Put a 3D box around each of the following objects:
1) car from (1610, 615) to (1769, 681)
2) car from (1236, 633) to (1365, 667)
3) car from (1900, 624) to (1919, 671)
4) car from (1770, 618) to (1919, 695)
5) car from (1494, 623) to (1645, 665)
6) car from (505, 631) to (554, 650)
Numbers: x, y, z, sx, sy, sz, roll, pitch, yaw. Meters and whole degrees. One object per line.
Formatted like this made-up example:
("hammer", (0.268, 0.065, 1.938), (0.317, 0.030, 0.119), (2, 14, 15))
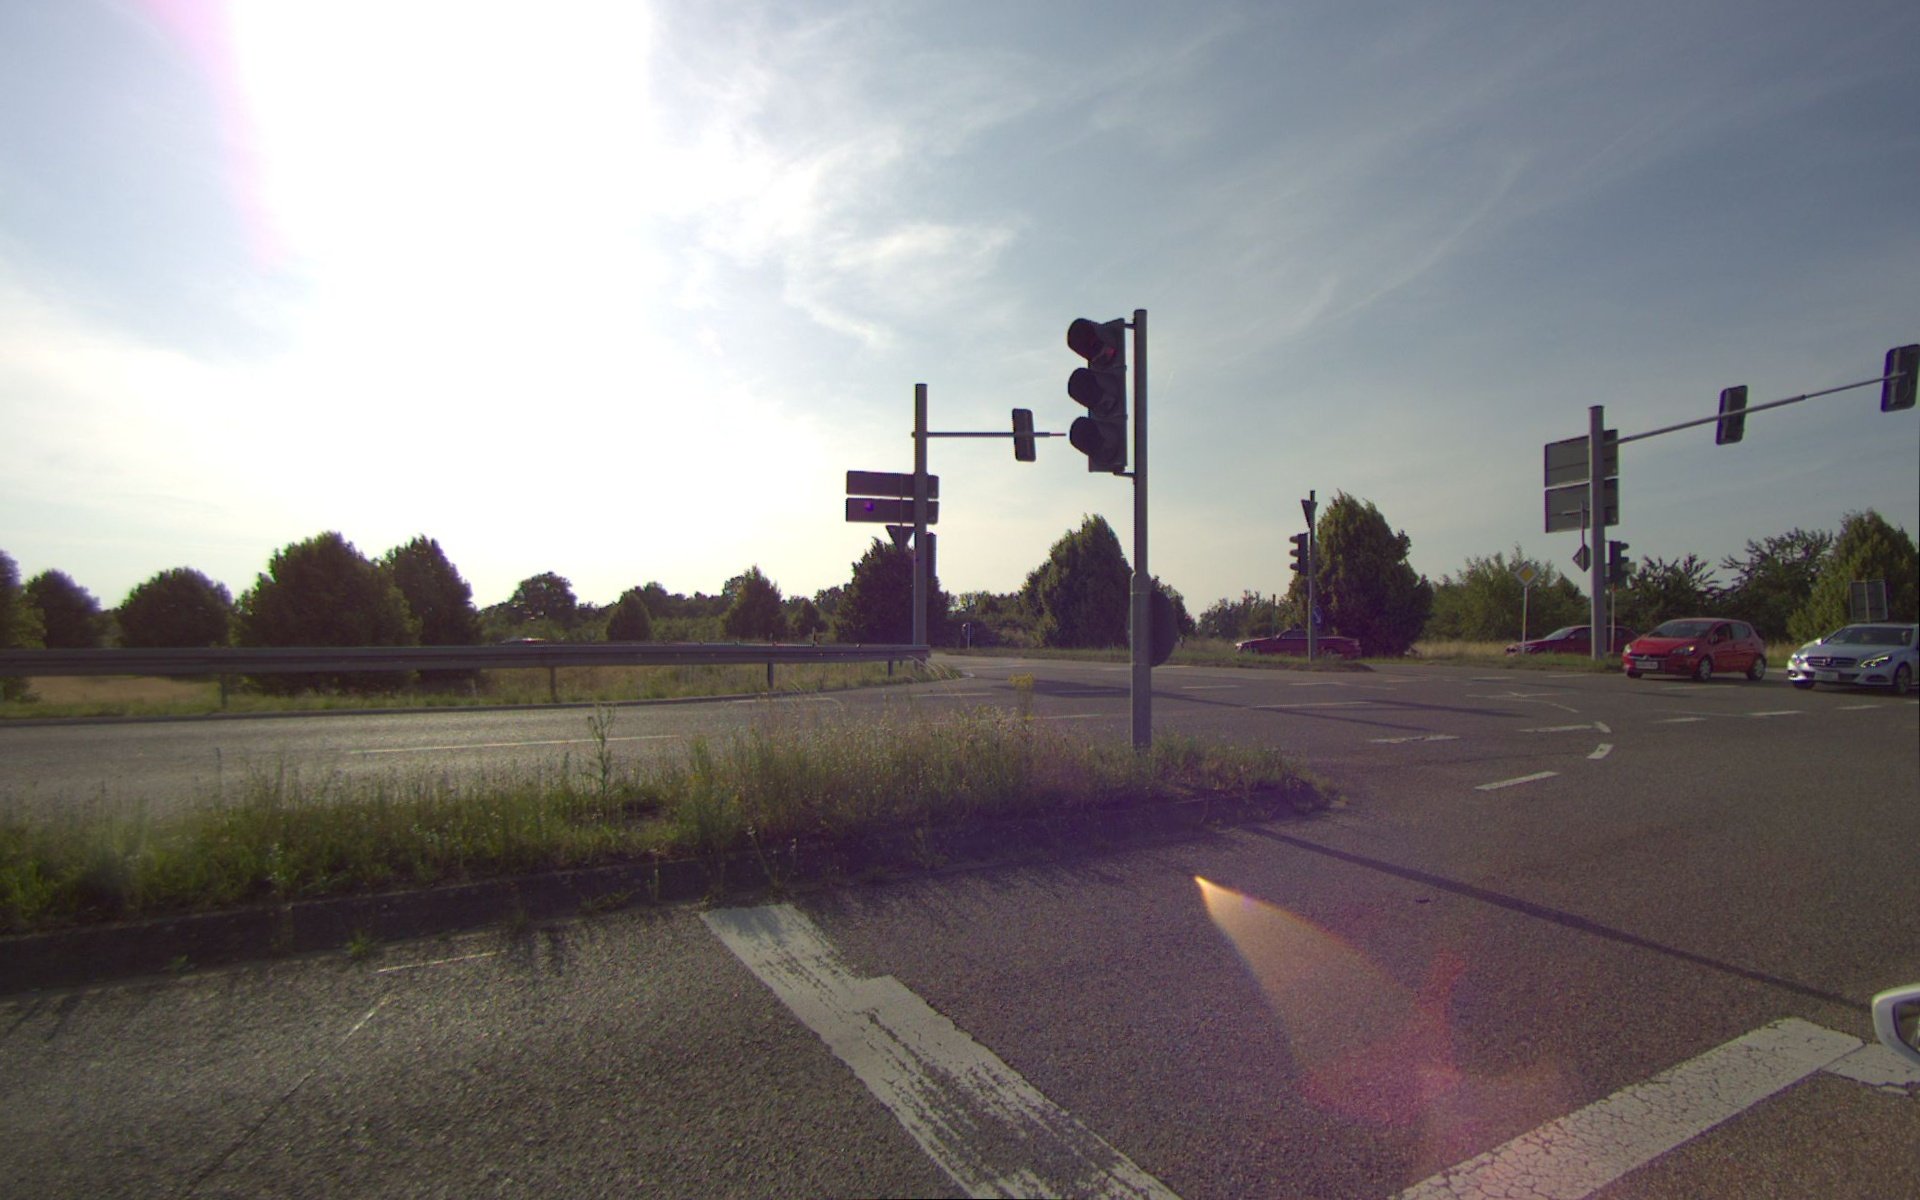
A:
("car", (17.957, 1.157, 24.713), (3.756, 1.507, 1.714), (1, -1, -28))
("car", (12.929, 1.873, 38.158), (4.394, 1.116, 1.998), (0, -1, 27))
("car", (31.657, 1.506, 31.571), (3.997, 1.452, 1.780), (1, -1, -26))
("car", (19.625, 1.166, 21.523), (4.589, 1.507, 1.780), (1, -1, -26))
("car", (20.761, 1.485, 34.329), (4.128, 1.344, 1.665), (1, -1, 3))
("car", (-33.168, 3.103, 77.306), (4.598, 1.299, 1.717), (-1, -2, 43))
